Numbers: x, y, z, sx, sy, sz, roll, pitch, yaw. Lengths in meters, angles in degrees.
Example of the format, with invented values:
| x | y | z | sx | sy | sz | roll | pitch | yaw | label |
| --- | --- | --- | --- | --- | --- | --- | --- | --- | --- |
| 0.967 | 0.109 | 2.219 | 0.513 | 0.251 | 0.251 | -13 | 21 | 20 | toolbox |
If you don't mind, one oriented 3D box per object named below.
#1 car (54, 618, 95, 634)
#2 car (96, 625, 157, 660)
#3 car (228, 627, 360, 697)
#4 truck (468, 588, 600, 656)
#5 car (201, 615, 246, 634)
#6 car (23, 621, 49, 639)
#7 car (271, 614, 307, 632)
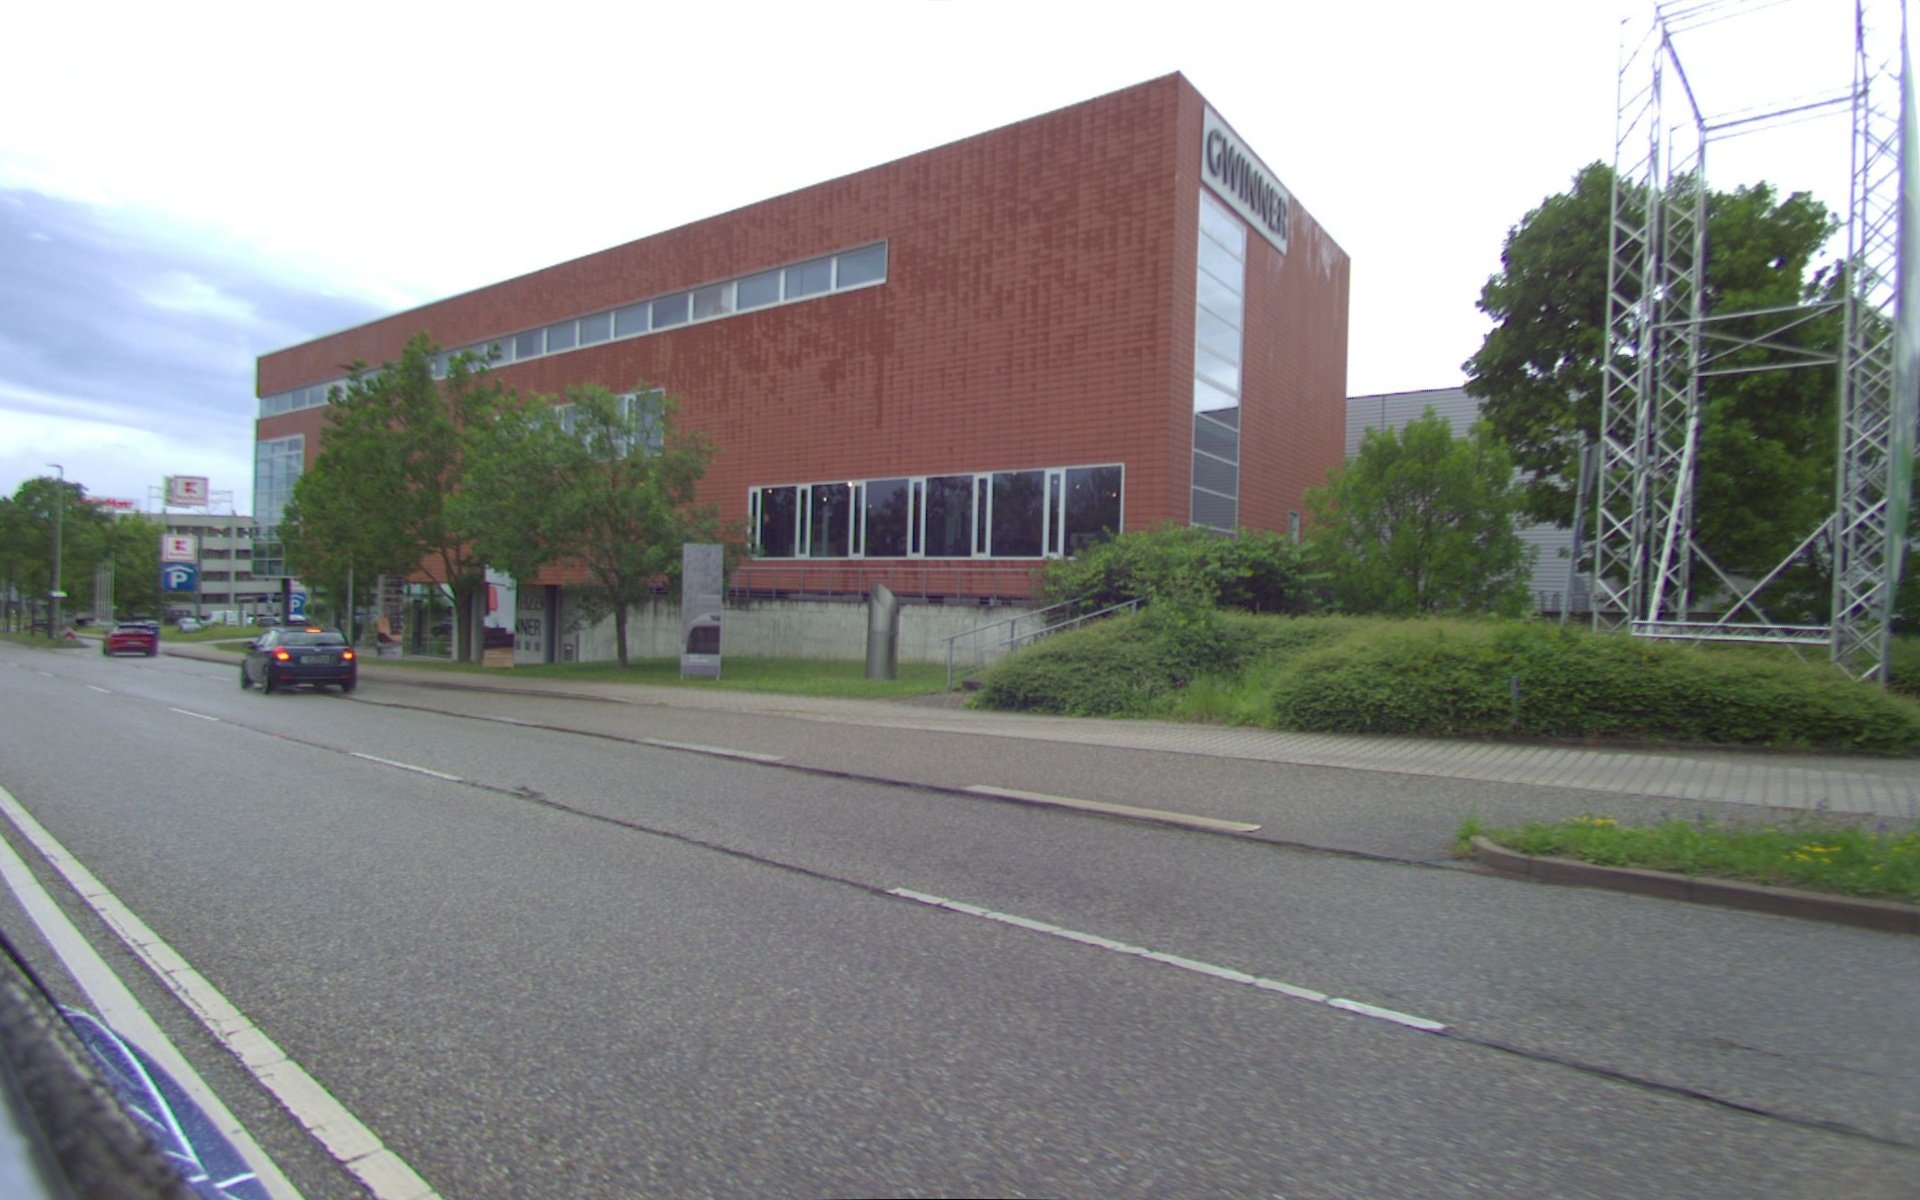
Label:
| x | y | z | sx | sy | sz | roll | pitch | yaw | label |
| --- | --- | --- | --- | --- | --- | --- | --- | --- | --- |
| -106.662 | 3.143 | 121.946 | 1.822 | 1.864 | 4.006 | 0 | -2 | -7 | car |
| -37.817 | 1.903 | 45.873 | 4.217 | 1.518 | 1.657 | -1 | -3 | 44 | car |
| -15.546 | 1.397 | 23.547 | 4.002 | 1.465 | 1.717 | -1 | -4 | 45 | car |
| -21.970 | 1.160 | 52.522 | 2.020 | 3.333 | 6.079 | 0 | -2 | 36 | truck |
| -64.068 | 2.102 | 88.042 | 4.428 | 1.630 | 1.812 | -1 | -2 | 35 | car |
| -88.409 | 2.871 | 96.815 | 1.806 | 1.630 | 4.004 | -1 | 0 | -43 | car |
| -51.705 | 1.782 | 77.980 | 3.449 | 1.293 | 1.490 | 0 | 0 | 42 | car |
